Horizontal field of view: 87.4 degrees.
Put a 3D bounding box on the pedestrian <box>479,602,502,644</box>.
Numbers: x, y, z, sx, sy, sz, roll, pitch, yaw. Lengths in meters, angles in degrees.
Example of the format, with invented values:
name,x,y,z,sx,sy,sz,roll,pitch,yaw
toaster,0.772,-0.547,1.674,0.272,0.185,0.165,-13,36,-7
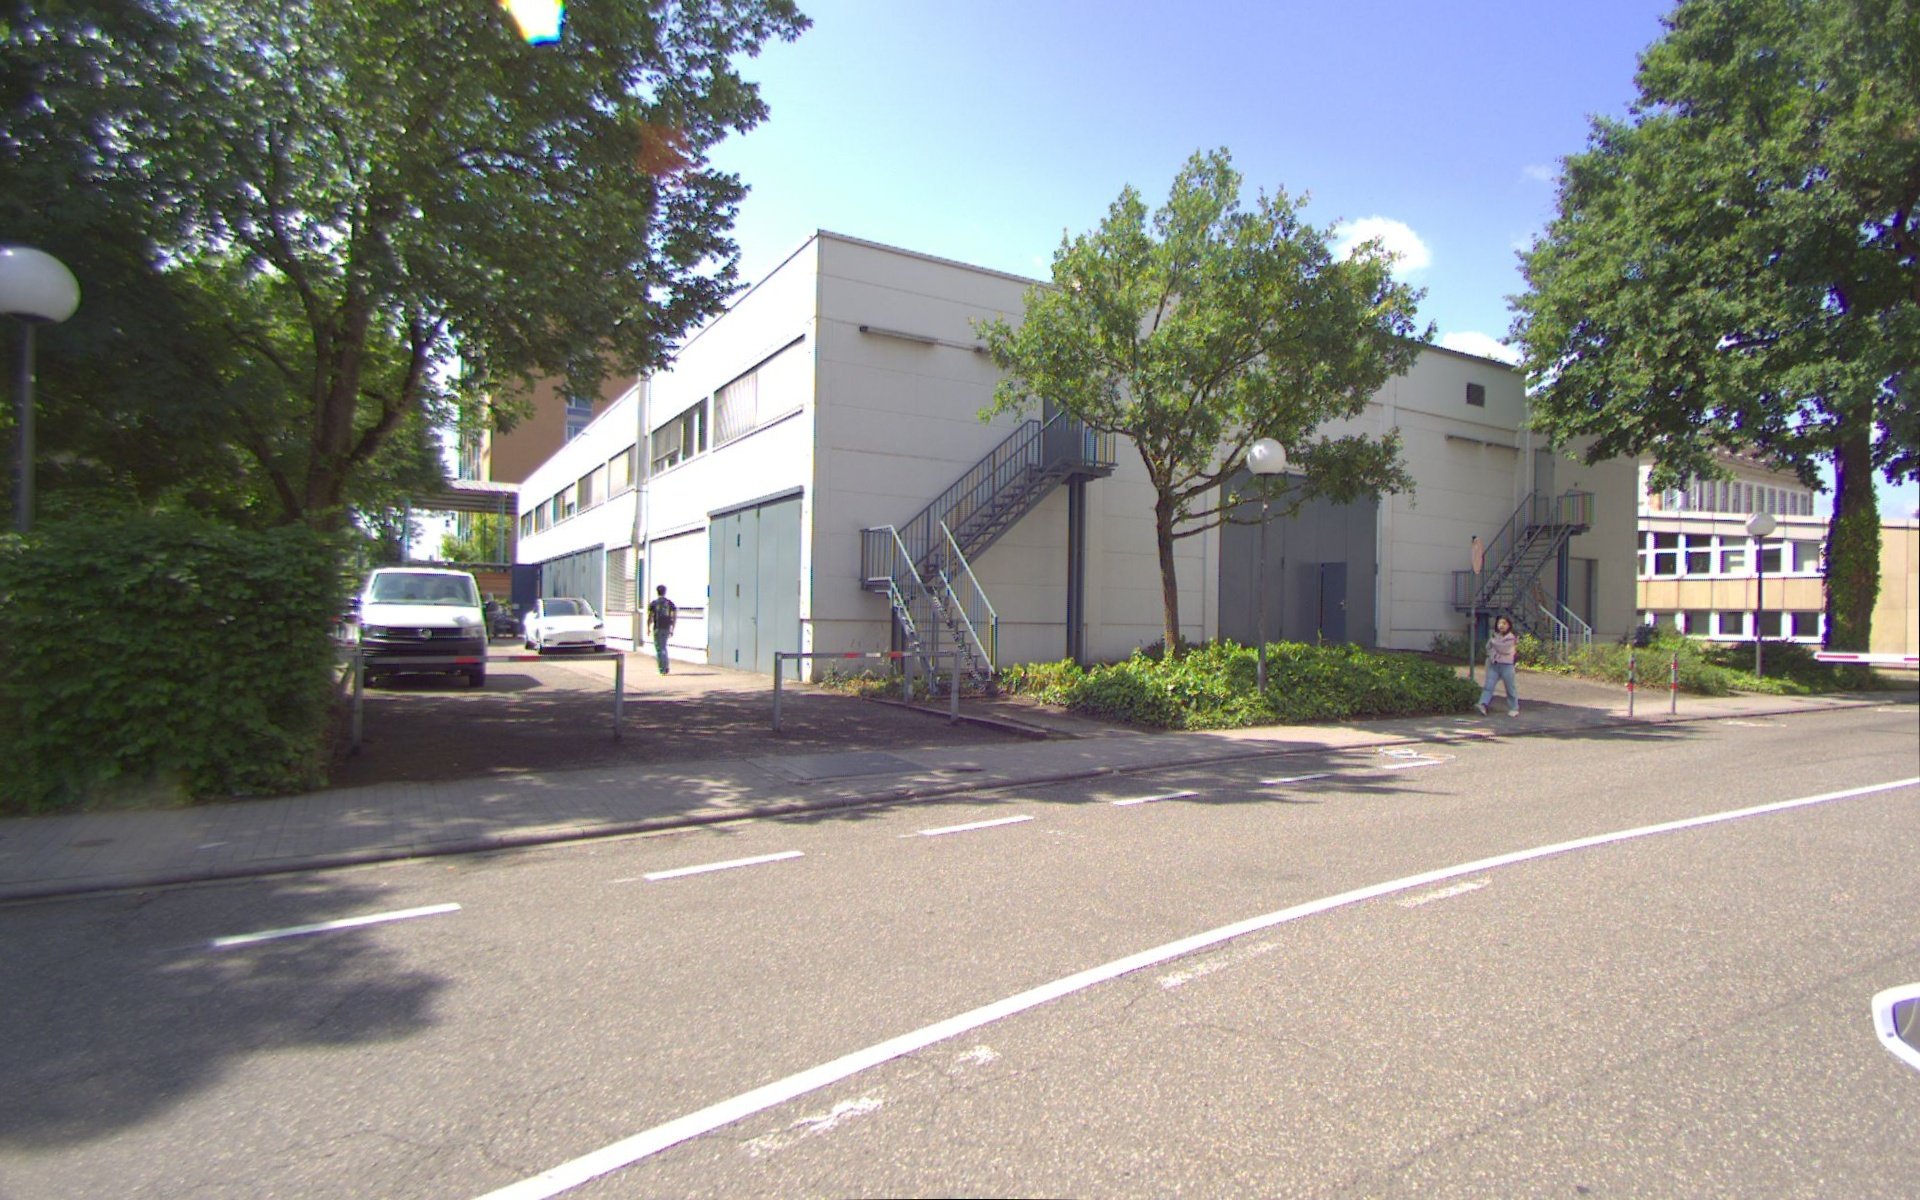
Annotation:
name,x,y,z,sx,sy,sz,roll,pitch,yaw
pedestrian,-18.059,0.878,38.635,0.762,1.566,0.822,1,0,-28

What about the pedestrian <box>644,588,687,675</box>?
name,x,y,z,sx,sy,sz,roll,pitch,yaw
pedestrian,-5.817,0.606,19.826,0.658,1.670,0.763,1,0,-28

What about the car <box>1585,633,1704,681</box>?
name,x,y,z,sx,sy,sz,roll,pitch,yaw
car,23.543,1.927,34.510,4.251,1.486,1.819,2,-1,-32

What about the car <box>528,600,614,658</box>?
name,x,y,z,sx,sy,sz,roll,pitch,yaw
car,-12.253,0.847,31.452,1.975,1.676,4.901,0,0,-28

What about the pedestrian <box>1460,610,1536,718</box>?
name,x,y,z,sx,sy,sz,roll,pitch,yaw
pedestrian,8.488,0.986,15.843,0.874,1.648,0.709,1,-1,-32

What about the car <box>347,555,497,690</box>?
name,x,y,z,sx,sy,sz,roll,pitch,yaw
car,-9.427,0.390,17.692,1.975,2.012,4.900,3,-2,-28
